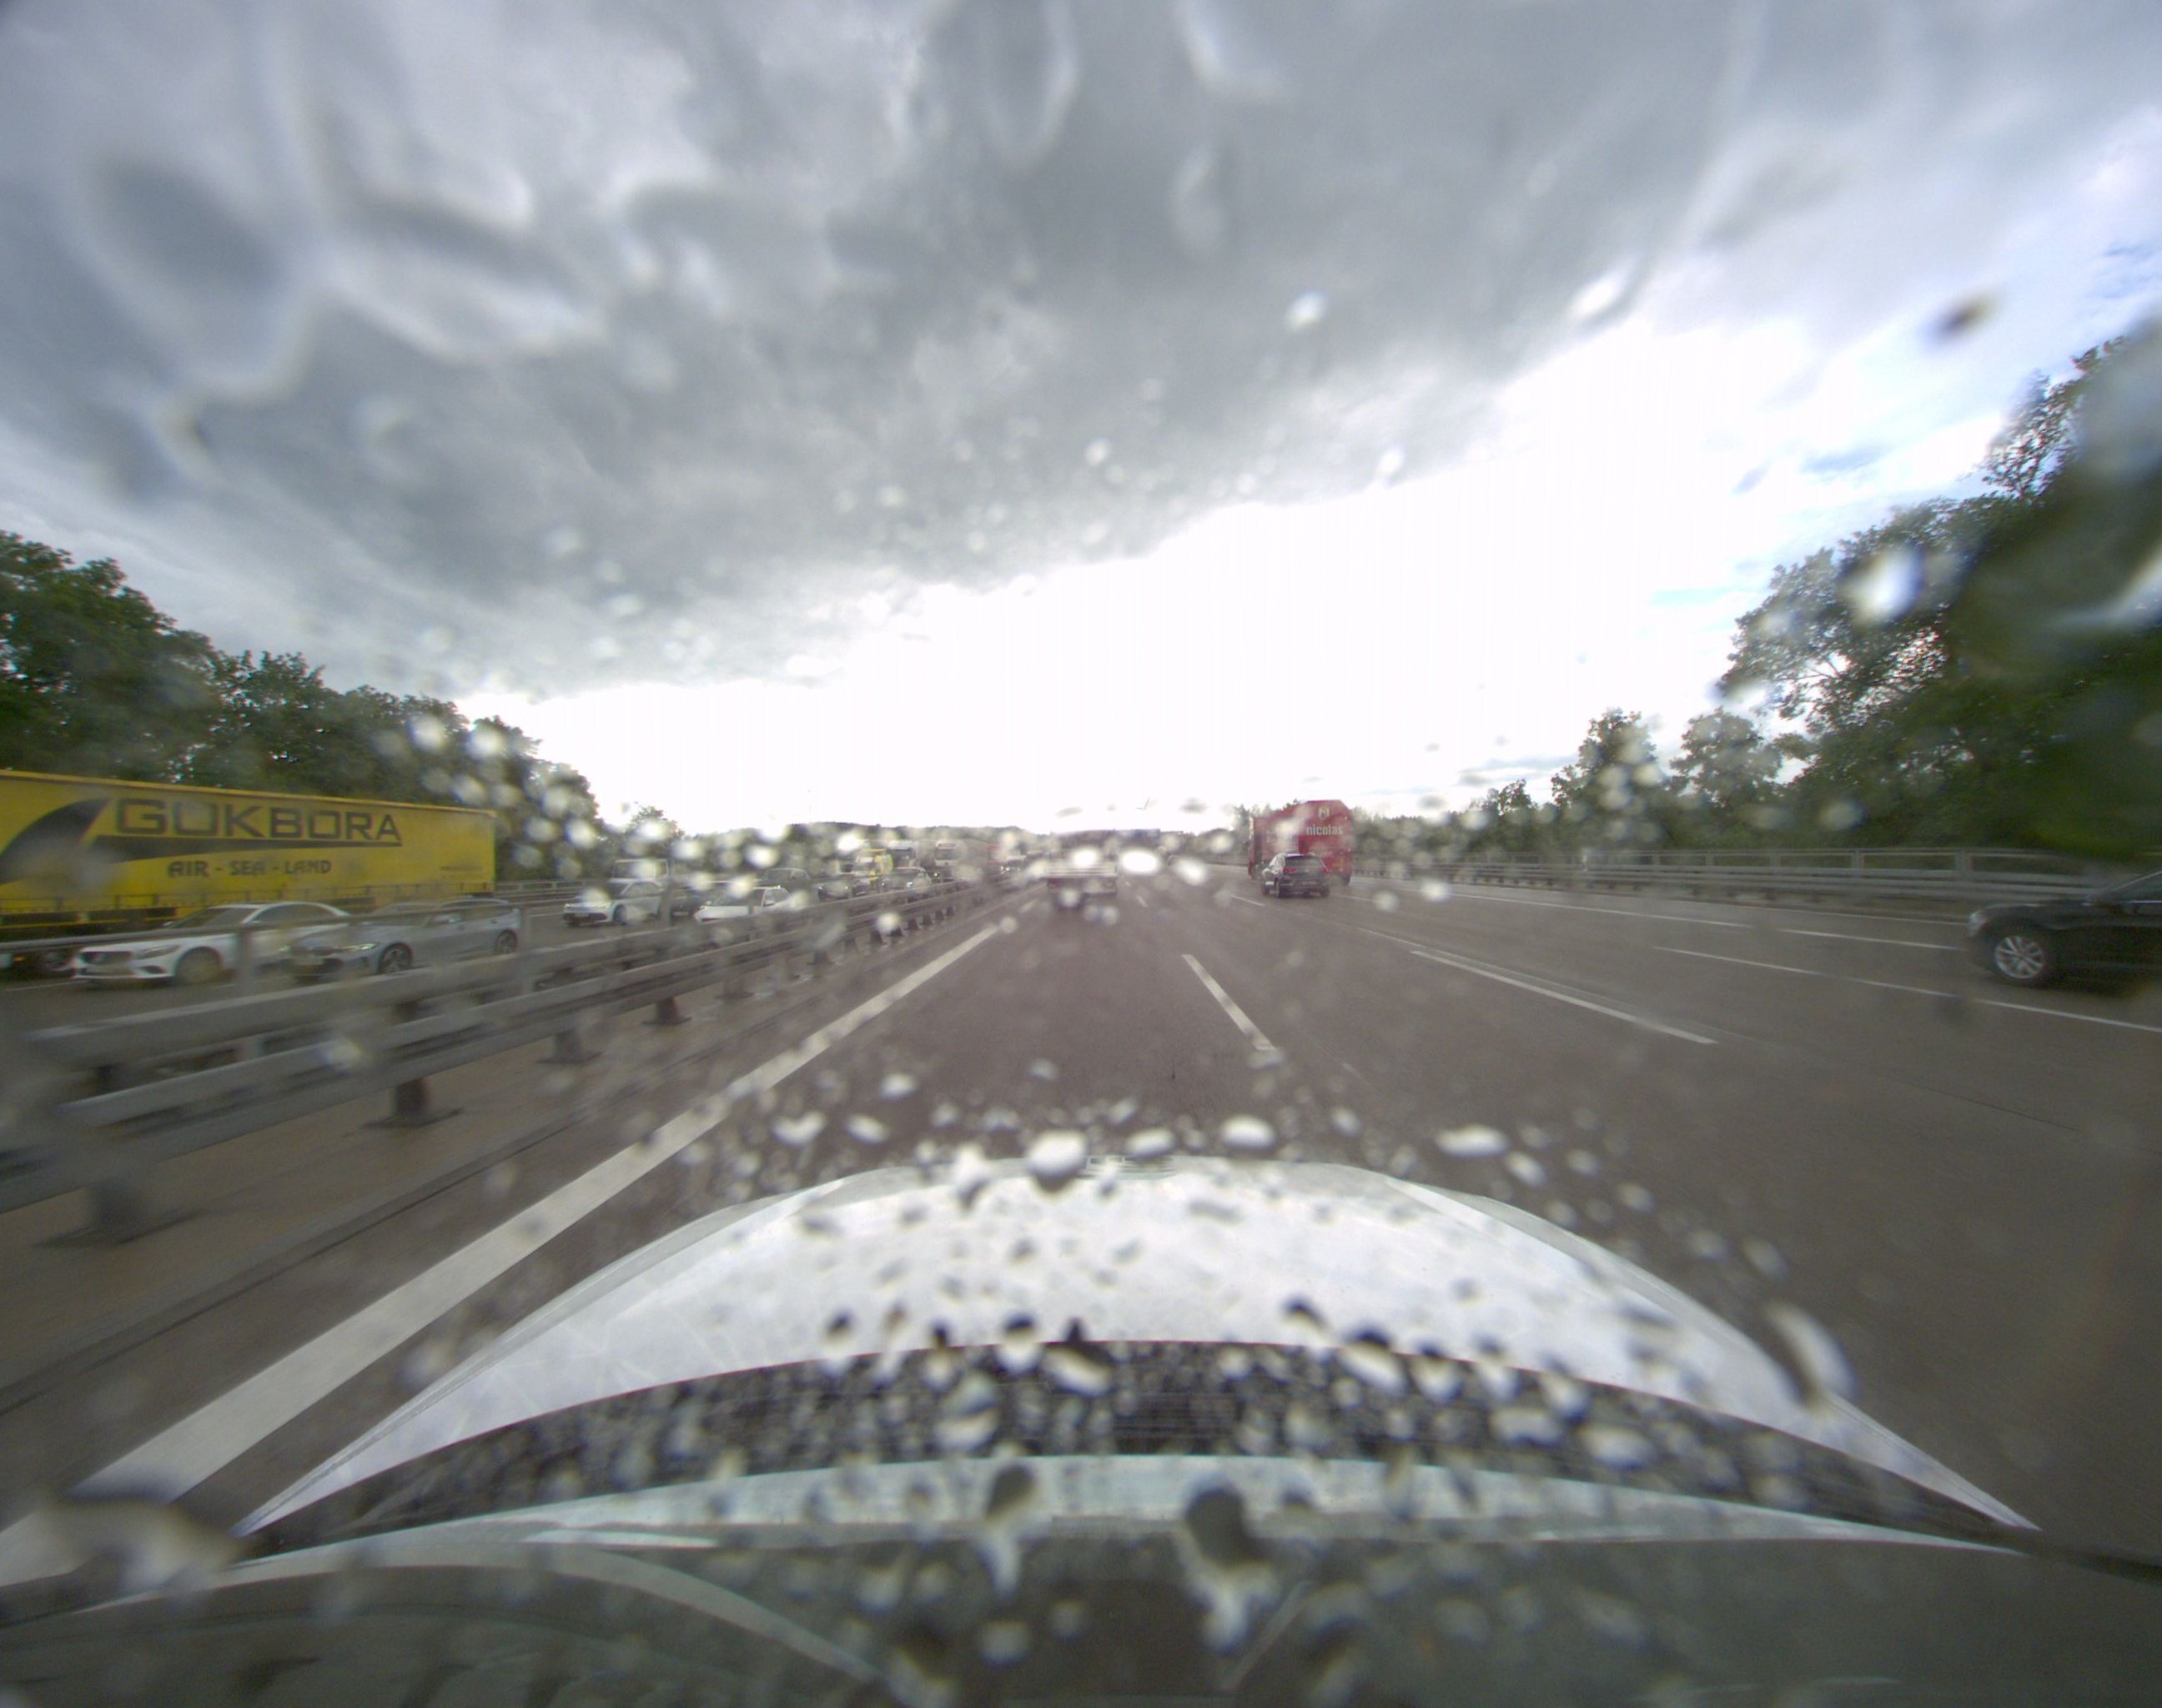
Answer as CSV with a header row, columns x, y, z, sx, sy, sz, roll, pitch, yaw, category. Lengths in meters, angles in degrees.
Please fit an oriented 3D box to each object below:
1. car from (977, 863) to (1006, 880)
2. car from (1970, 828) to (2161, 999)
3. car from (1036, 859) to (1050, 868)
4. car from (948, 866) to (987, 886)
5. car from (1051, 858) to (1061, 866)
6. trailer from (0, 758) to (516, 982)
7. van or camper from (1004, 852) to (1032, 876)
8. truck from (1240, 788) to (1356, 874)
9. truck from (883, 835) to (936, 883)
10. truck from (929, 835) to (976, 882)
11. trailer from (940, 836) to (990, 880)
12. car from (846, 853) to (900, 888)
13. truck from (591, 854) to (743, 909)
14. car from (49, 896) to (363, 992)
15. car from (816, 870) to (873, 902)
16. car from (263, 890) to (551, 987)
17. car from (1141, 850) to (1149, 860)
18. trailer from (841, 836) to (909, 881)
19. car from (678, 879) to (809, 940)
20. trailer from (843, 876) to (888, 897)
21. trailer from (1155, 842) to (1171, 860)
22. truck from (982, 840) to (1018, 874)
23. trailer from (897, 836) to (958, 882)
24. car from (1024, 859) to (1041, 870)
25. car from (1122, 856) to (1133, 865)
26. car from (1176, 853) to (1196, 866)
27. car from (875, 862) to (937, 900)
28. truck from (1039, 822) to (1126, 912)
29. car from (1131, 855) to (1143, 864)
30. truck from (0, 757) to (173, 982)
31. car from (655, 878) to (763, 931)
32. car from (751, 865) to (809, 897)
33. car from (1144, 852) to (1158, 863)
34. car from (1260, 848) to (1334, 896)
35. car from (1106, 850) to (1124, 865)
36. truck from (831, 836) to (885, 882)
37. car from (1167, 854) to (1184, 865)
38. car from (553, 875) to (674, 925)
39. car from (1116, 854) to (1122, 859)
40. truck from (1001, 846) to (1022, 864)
x,y,z,sx,sy,sz,roll,pitch,yaw,category
-8.236,1.599,75.432,1.915,1.419,5.166,-2,0,2,car
10.652,0.520,6.757,1.809,1.543,4.357,-1,0,0,car
-6.229,1.548,132.764,1.824,1.452,4.003,-2,0,3,car
-8.748,1.675,63.220,2.007,1.387,5.461,-2,0,2,car
-4.724,1.508,153.659,1.566,1.354,4.388,-2,0,3,car
-21.795,0.356,21.407,3.235,4.228,14.515,-2,0,2,trailer
-6.995,1.068,90.808,2.269,2.496,7.305,-2,0,2,van or camper
11.868,-1.122,46.661,3.139,4.003,15.648,-1,0,3,truck
-15.799,0.448,75.477,2.891,4.147,7.108,-2,0,3,truck
-12.260,0.415,78.340,2.870,4.180,7.560,-2,0,2,truck
-11.989,0.404,85.393,2.870,4.145,13.033,-2,0,2,trailer
-15.930,1.196,62.918,2.148,2.504,6.775,-2,0,2,car
-20.665,1.243,41.474,2.670,2.371,9.278,-2,0,2,truck
-17.348,1.713,16.501,1.814,1.438,4.057,-2,0,4,car
-13.175,1.746,45.600,1.742,1.577,4.689,-2,0,0,car
-13.892,1.640,17.351,1.803,1.480,5.218,-2,0,-1,car
16.685,0.225,213.357,2.036,2.498,4.004,-1,0,3,car
-20.074,0.412,80.282,2.746,3.993,12.317,-2,0,3,trailer
-9.681,1.534,23.802,1.756,1.383,4.820,-2,0,0,car
-13.101,1.966,49.602,1.718,1.038,3.342,-2,0,2,trailer
19.440,-0.662,193.810,3.318,4.176,11.849,-1,0,4,trailer
-10.711,0.389,108.673,2.973,4.149,12.527,-2,0,2,truck
-15.341,0.465,82.638,2.868,4.145,13.040,-2,0,3,trailer
-6.753,1.492,114.589,1.915,1.419,5.014,-2,0,2,car
9.570,1.325,166.421,1.965,1.699,4.000,-1,0,0,car
14.482,0.738,112.573,2.098,1.605,5.065,-1,0,0,car
-9.205,1.375,43.228,1.906,1.766,5.333,-2,0,2,car
0.071,0.345,25.908,2.345,2.408,7.357,-1,0,0,truck
10.569,1.013,153.563,2.038,1.699,4.000,-1,0,0,car
-22.019,0.345,14.728,3.235,4.250,6.884,-2,0,2,truck
-13.062,1.722,28.922,1.742,1.577,4.418,-2,0,0,car
-16.468,1.436,44.789,1.527,1.596,4.002,-2,0,2,car
11.742,0.553,136.668,2.090,1.699,4.000,-1,0,0,car
7.598,0.606,29.004,1.785,1.562,3.724,-1,0,2,car
4.015,0.386,96.420,2.036,1.699,4.004,-1,0,3,car
-20.396,0.427,74.915,2.747,3.993,6.582,-2,0,3,truck
15.722,0.896,135.796,2.040,1.699,5.003,-1,0,-2,car
-16.683,1.585,29.323,1.742,1.479,4.418,-2,0,0,car
11.493,0.819,246.660,1.806,1.445,4.000,-2,0,1,car
-15.592,0.331,183.894,3.212,3.910,10.290,-1,0,3,truck
